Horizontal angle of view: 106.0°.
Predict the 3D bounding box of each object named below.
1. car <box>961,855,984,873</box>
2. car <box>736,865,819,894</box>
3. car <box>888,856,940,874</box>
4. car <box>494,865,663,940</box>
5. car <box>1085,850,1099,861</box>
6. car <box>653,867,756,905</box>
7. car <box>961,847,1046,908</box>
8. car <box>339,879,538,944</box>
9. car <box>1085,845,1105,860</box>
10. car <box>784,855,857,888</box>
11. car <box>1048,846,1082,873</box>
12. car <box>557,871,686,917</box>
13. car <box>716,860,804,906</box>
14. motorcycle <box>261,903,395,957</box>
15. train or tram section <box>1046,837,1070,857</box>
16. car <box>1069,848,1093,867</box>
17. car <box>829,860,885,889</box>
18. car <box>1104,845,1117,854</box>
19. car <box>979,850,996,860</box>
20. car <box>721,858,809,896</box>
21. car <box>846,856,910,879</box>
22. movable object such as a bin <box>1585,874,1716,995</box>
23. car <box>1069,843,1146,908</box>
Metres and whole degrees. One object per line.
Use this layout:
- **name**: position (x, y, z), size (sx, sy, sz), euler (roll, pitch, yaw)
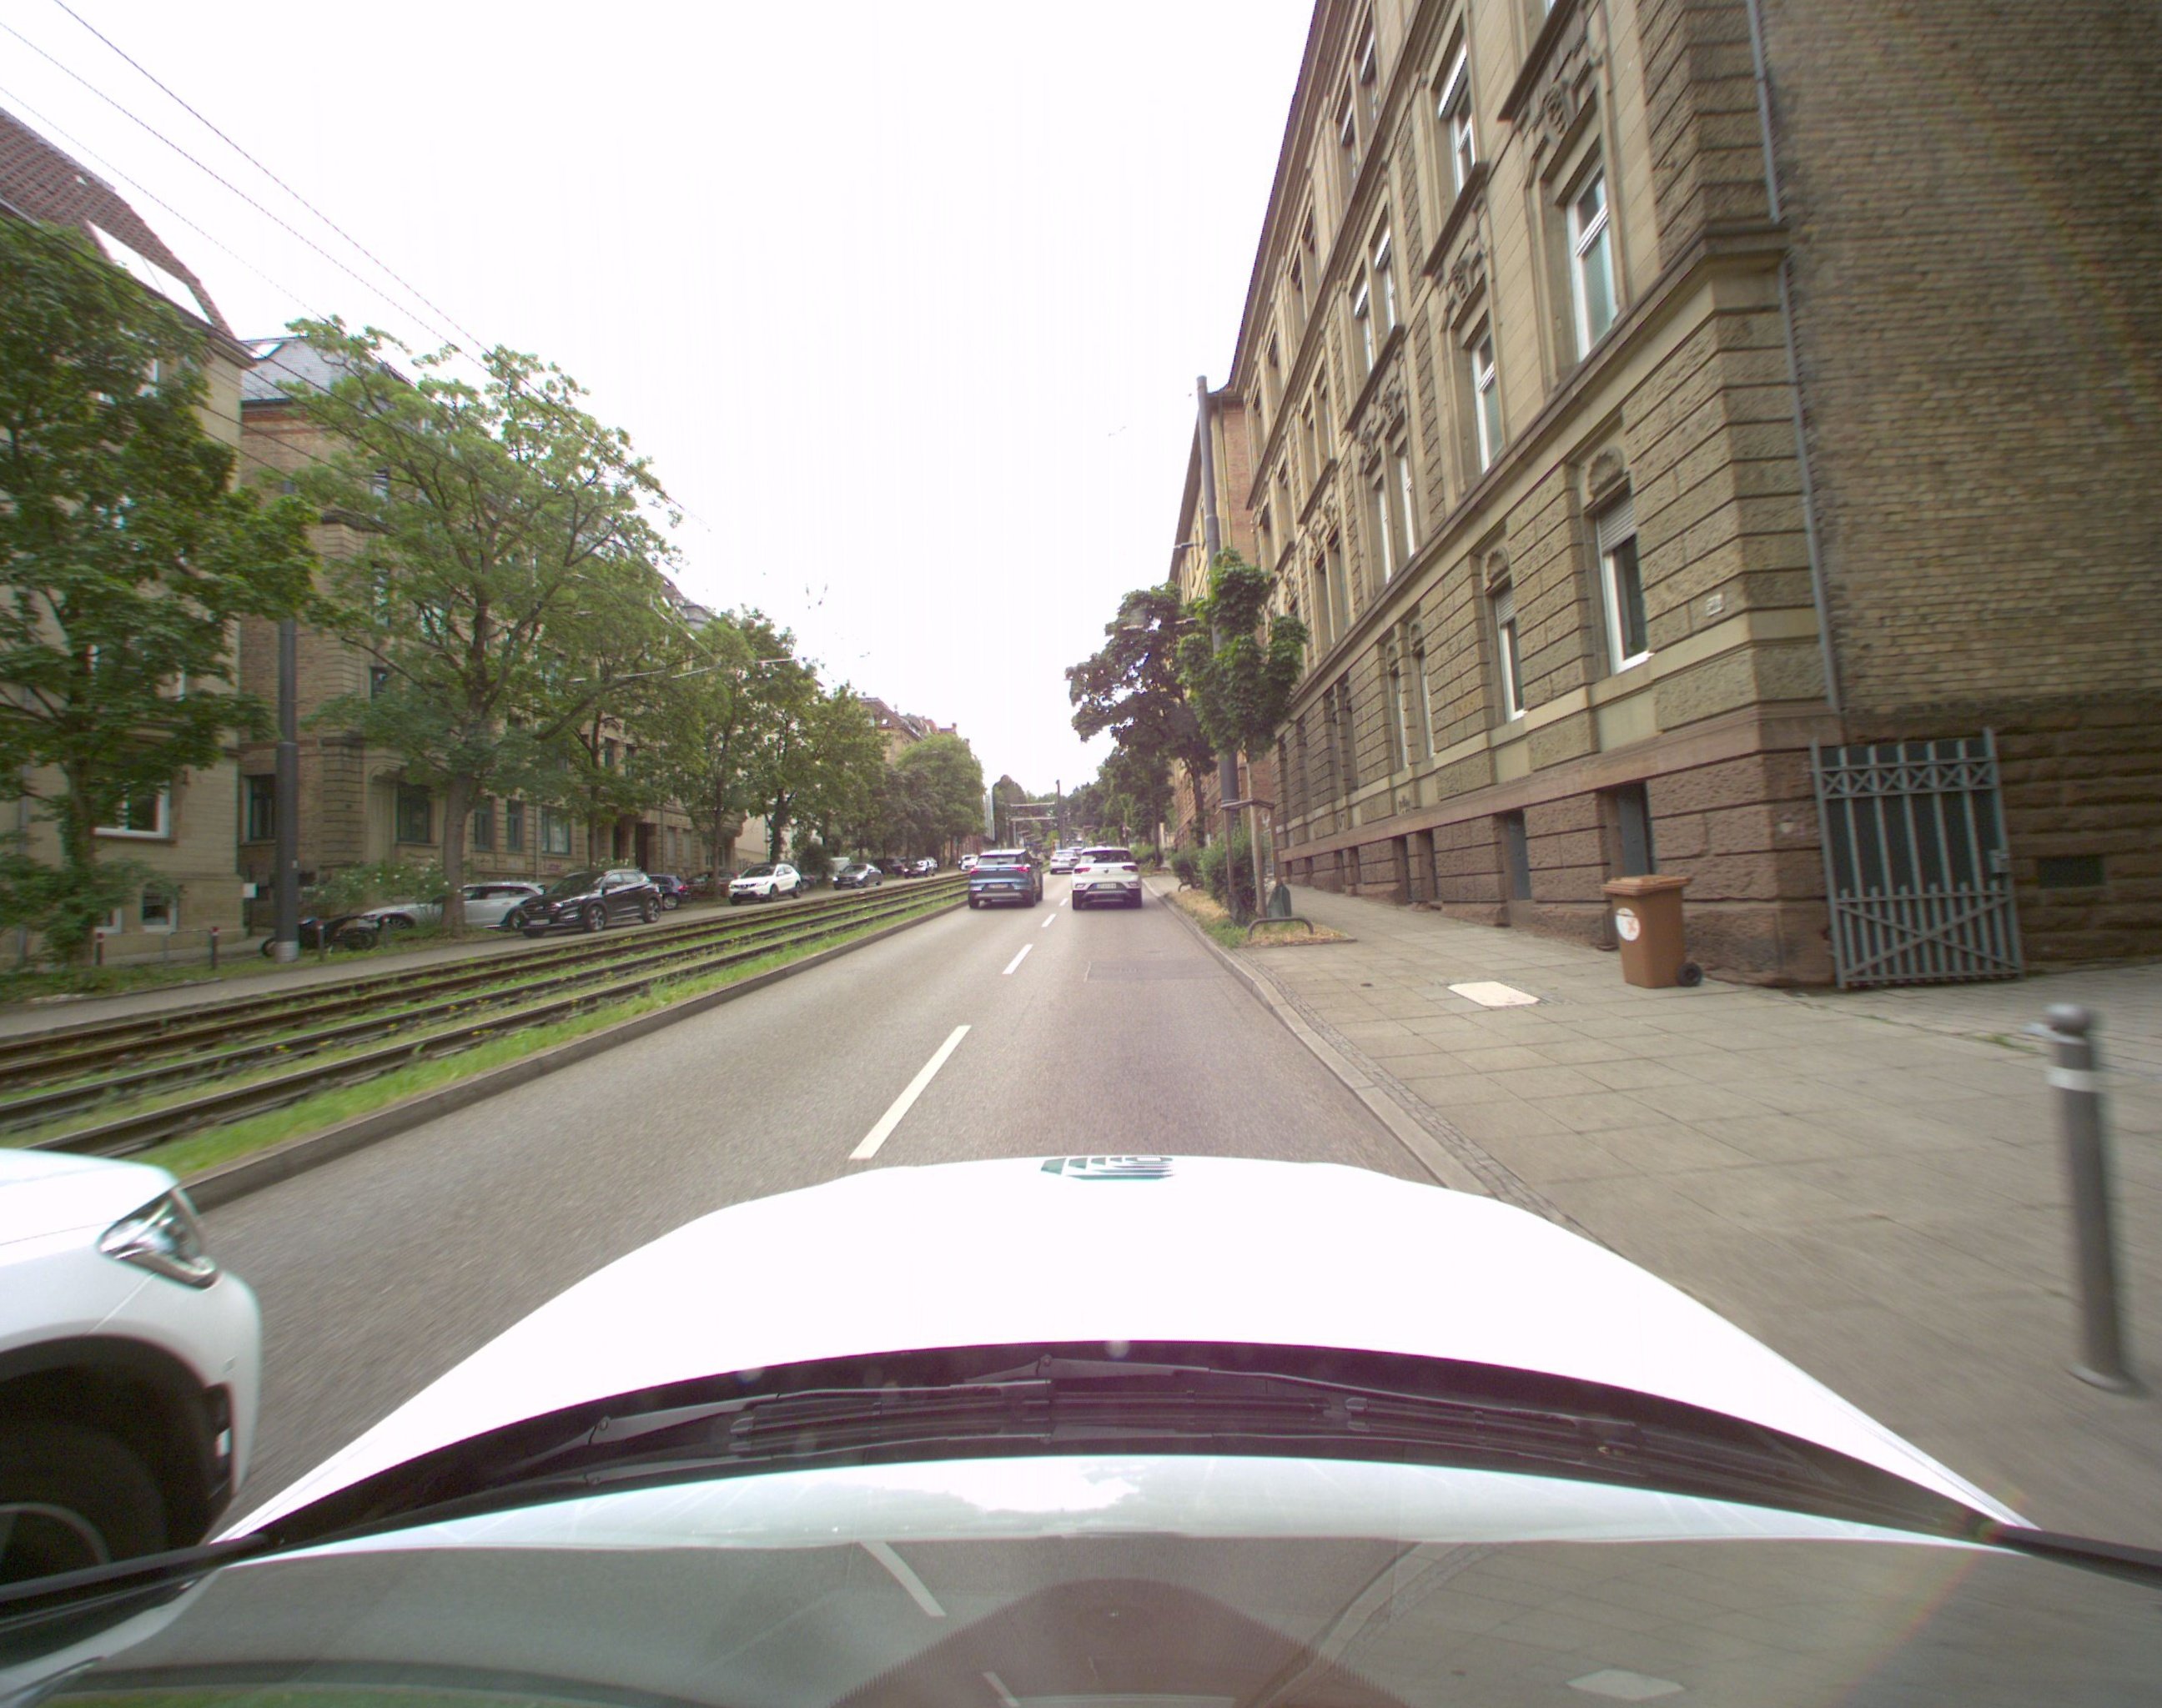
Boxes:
- **car**: position (-10.191, 0.927, 76.809), size (1.582, 1.435, 3.413), euler (-5, 0, 1)
- **car**: position (-17.405, 1.437, 46.704), size (4.202, 1.339, 1.854), euler (-3, 0, -28)
- **car**: position (-16.467, 1.042, 80.434), size (4.624, 1.617, 1.916), euler (-1, 0, -32)
- **car**: position (-13.573, 1.225, 22.350), size (1.773, 1.656, 4.245), euler (-5, 0, 2)
- **car**: position (1.672, 0.238, 127.290), size (2.061, 1.546, 4.194), euler (-2, 0, 1)
- **car**: position (-17.627, 1.470, 38.156), size (4.202, 1.435, 1.854), euler (-3, 0, -28)
- **car**: position (-2.114, 0.599, 23.270), size (1.828, 1.546, 4.196), euler (-2, 0, 2)
- **car**: position (-18.049, 1.573, 23.159), size (4.168, 1.469, 1.768), euler (-3, -1, -31)
- **car**: position (1.567, -0.189, 89.247), size (2.061, 1.546, 4.194), euler (-2, 0, 1)
- **car**: position (-16.800, 1.129, 52.565), size (4.199, 1.836, 1.856), euler (-3, 0, -25)
- **car**: position (-0.946, 0.343, 50.398), size (1.828, 1.546, 4.196), euler (-2, 0, 2)
- **car**: position (-18.032, 1.513, 32.038), size (4.210, 1.435, 1.851), euler (-3, 0, -36)
- **car**: position (-13.526, 1.164, 34.610), size (1.773, 1.616, 4.348), euler (-5, 0, 2)
- **motorcycle**: position (-17.577, 1.745, 19.079), size (2.214, 1.058, 0.619), euler (-2, -1, -33)
- **train or tram section**: position (-4.006, -1.198, 144.843), size (2.983, 3.348, 13.449), euler (-3, 0, 3)
- **car**: position (0.024, 0.312, 70.306), size (1.828, 1.546, 4.196), euler (-2, 0, 2)
- **car**: position (-12.767, 1.144, 46.702), size (1.718, 1.410, 4.600), euler (-5, 0, 2)
- **car**: position (4.911, -0.743, 134.176), size (2.060, 1.546, 4.196), euler (-2, 0, 2)
- **car**: position (-14.528, 0.205, 126.785), size (1.985, 1.403, 4.003), euler (-3, 0, 3)
- **car**: position (-17.151, 1.237, 44.235), size (4.202, 1.767, 1.854), euler (-3, 0, -28)
- **car**: position (-16.272, 1.092, 65.400), size (4.623, 1.682, 1.917), euler (-1, 0, -32)
- **movable object such as a bin**: position (4.858, 0.669, 6.977), size (0.669, 0.897, 0.582), euler (-5, 2, -1)
- **car**: position (0.674, 0.517, 21.882), size (1.829, 1.546, 4.194), euler (-2, 0, 1)
